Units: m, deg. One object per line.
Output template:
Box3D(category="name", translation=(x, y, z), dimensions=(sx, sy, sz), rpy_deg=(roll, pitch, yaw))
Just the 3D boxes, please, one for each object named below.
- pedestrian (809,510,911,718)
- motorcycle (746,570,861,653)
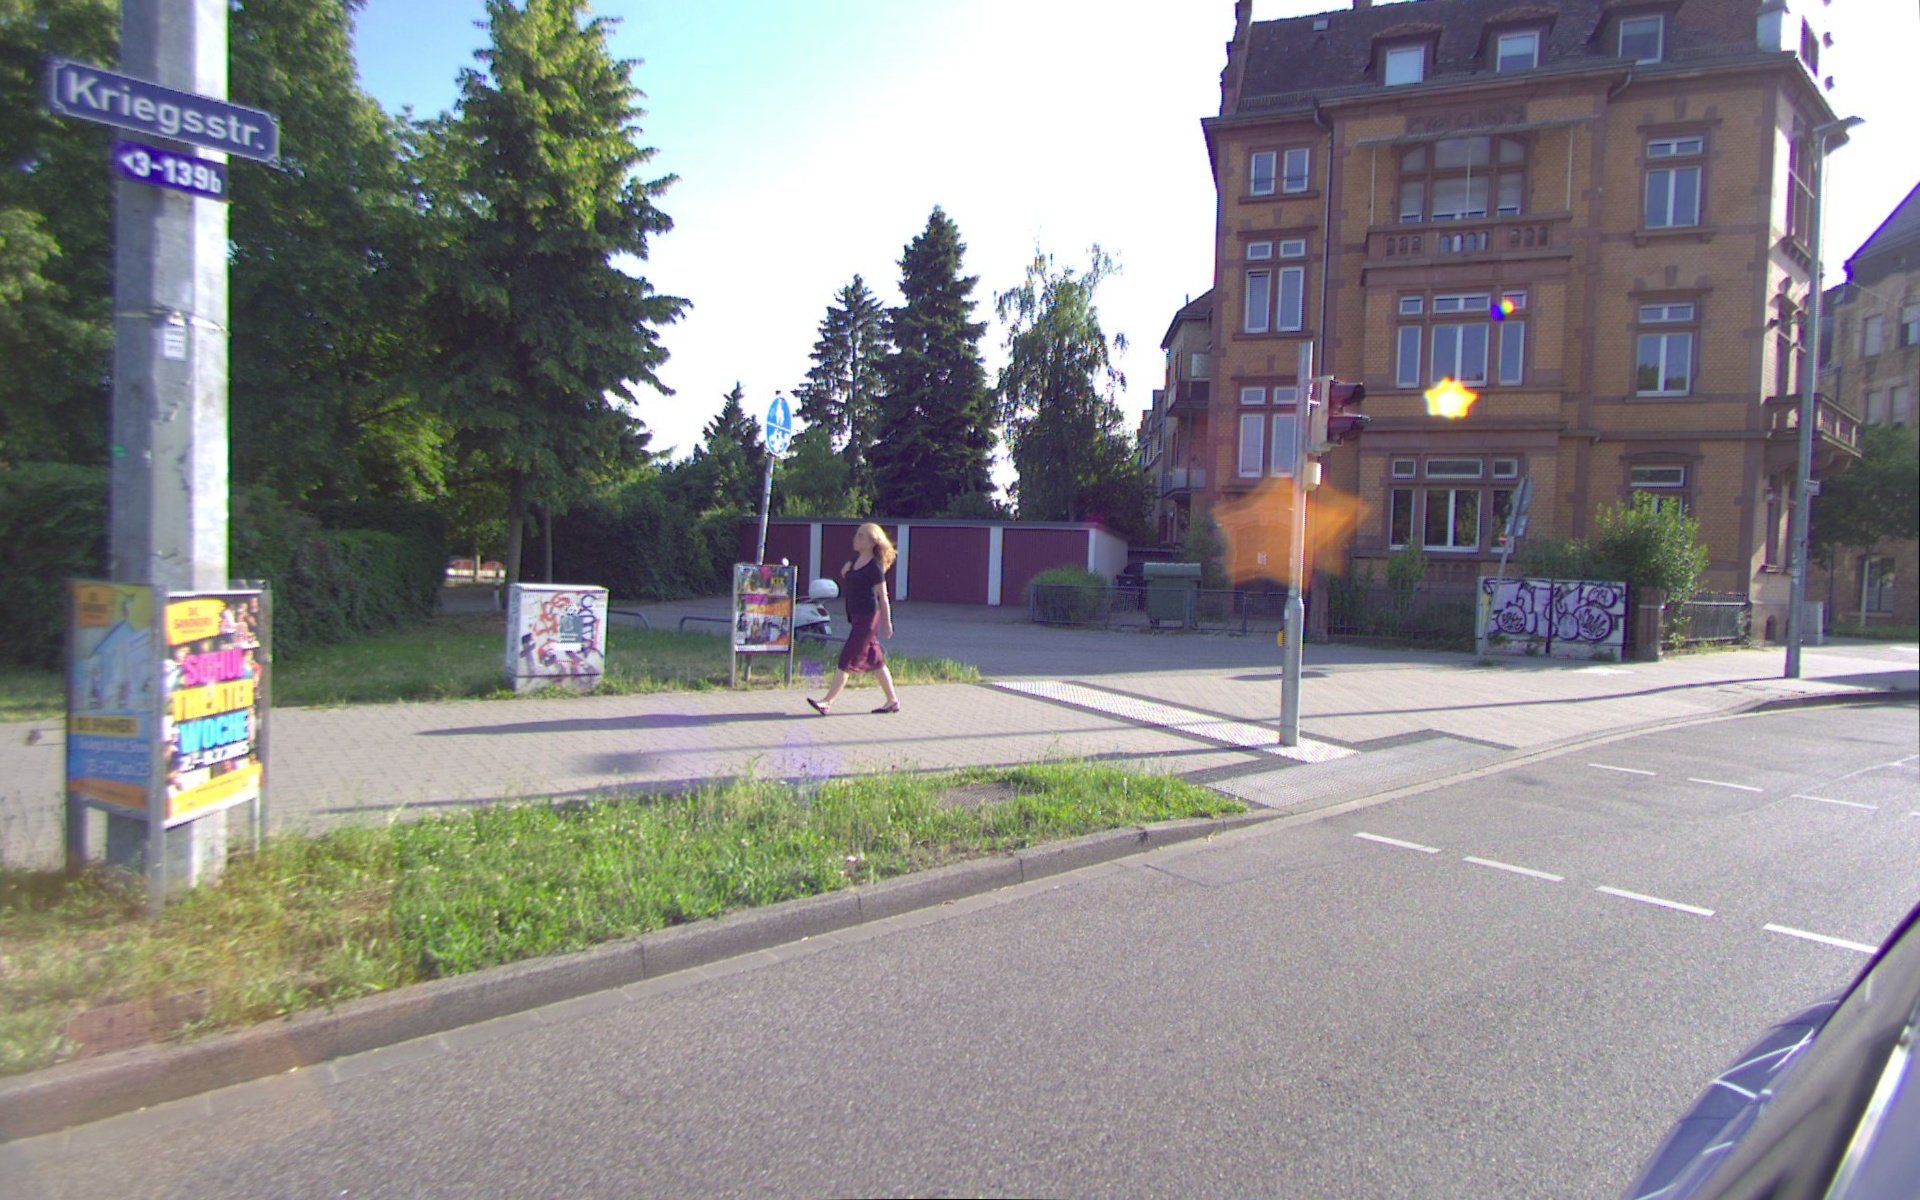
Box3D(category="pedestrian", translation=(-0.887, 0.105, 8.866), dimensions=(0.538, 1.711, 0.618), rpy_deg=(1, 6, -36))
Box3D(category="motorcycle", translation=(-2.430, 0.151, 15.567), dimensions=(0.696, 1.174, 1.997), rpy_deg=(1, 1, -45))
